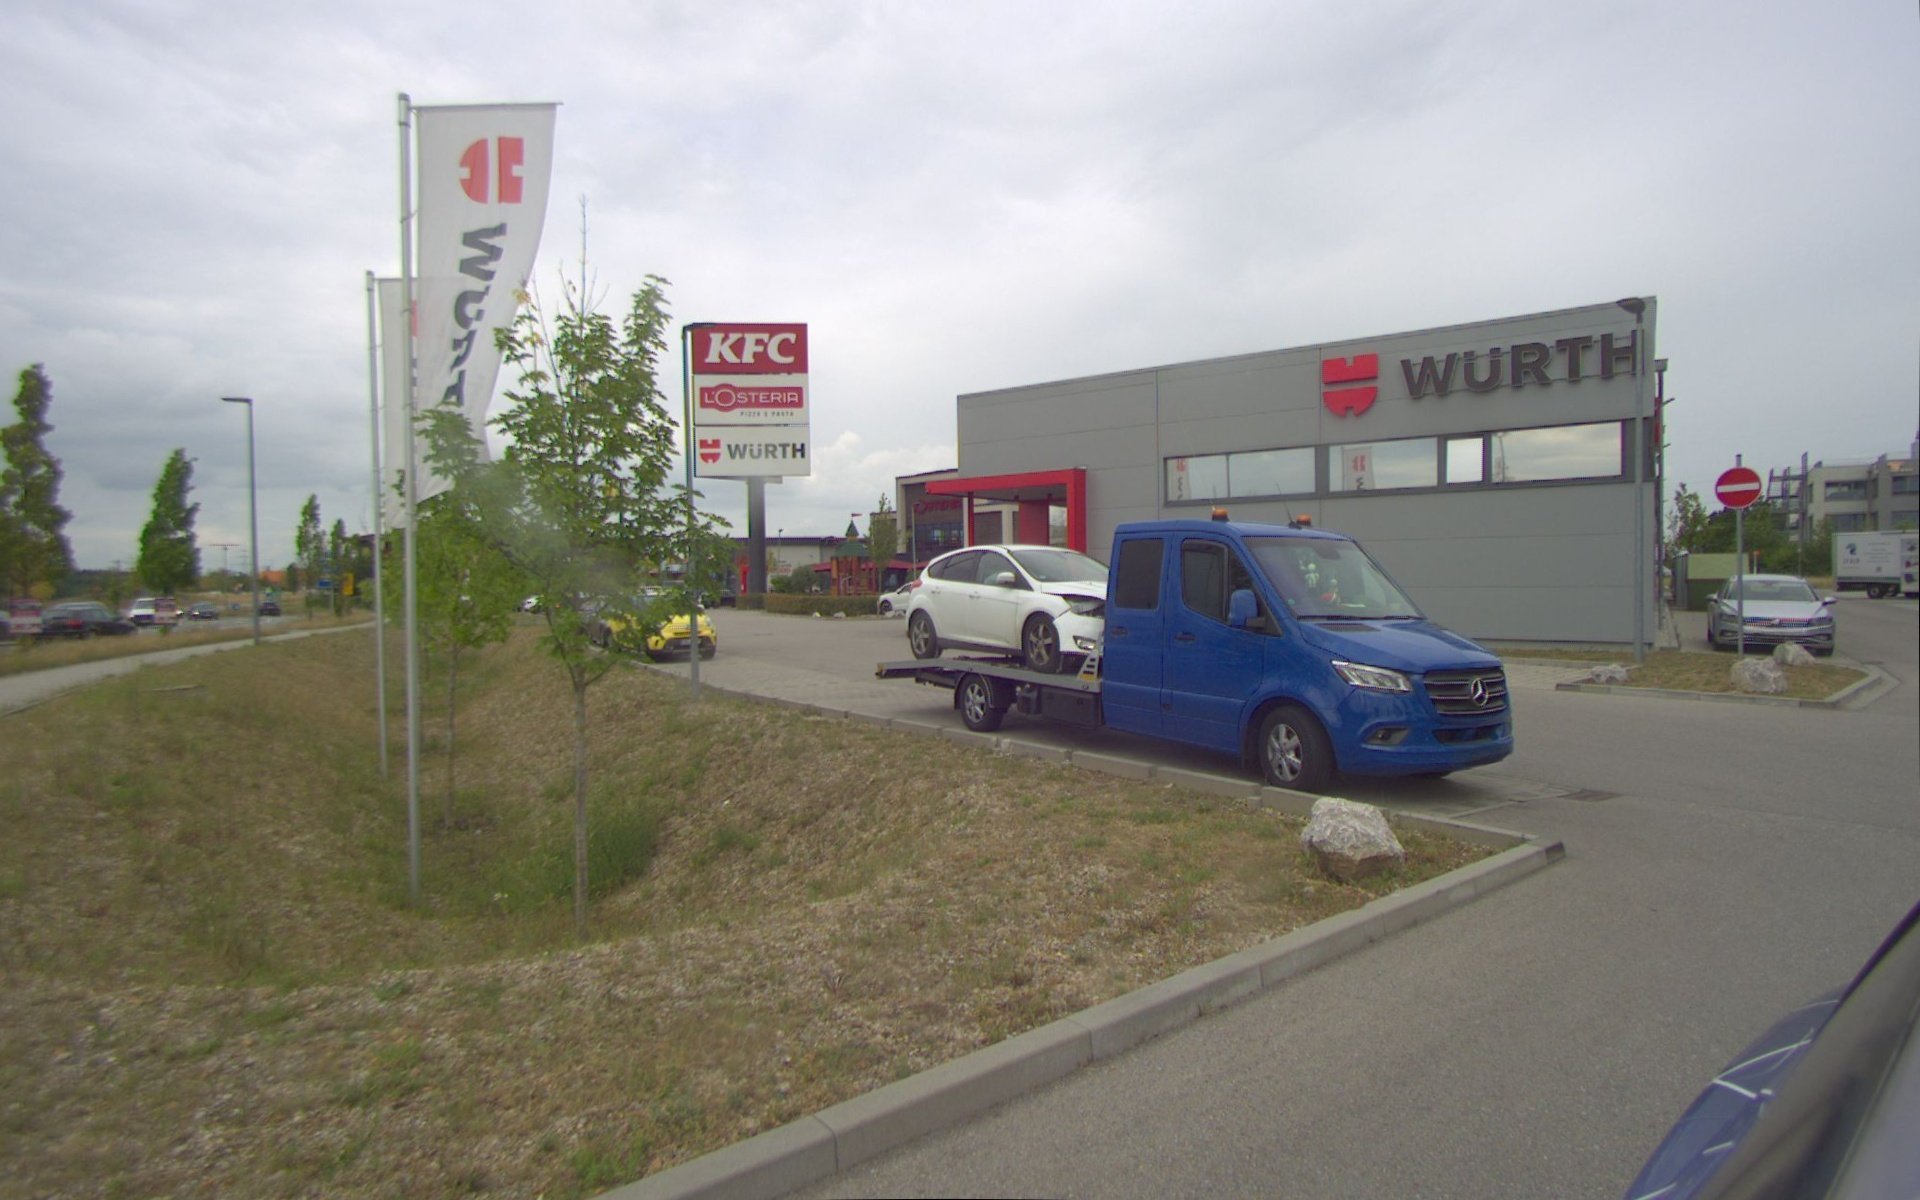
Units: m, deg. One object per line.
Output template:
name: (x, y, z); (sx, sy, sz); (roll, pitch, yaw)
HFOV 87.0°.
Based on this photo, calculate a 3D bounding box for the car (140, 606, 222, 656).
car: (-29.795, 1.141, 38.817); (1.650, 1.697, 3.512); (-2, 2, -24)

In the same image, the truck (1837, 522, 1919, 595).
truck: (41.490, -1.776, 42.742); (2.389, 3.053, 7.076); (-2, 2, -3)

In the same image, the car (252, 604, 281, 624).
car: (-69.616, 1.373, 101.625); (1.780, 1.872, 3.906); (-3, 2, -43)

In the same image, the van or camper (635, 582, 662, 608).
van or camper: (-26.206, -0.422, 85.294); (1.821, 2.087, 5.245); (-2, 1, -14)

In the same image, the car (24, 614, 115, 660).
car: (-31.609, 1.271, 36.007); (1.464, 1.403, 3.347); (-2, 2, -24)

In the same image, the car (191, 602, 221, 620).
car: (-65.847, 0.913, 88.428); (1.740, 1.401, 4.153); (-2, 2, -32)

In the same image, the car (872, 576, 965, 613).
car: (-2.145, -0.266, 51.137); (4.717, 1.770, 1.734); (-1, 1, 39)

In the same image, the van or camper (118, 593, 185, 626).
van or camper: (-51.478, 0.562, 64.570); (1.959, 1.935, 5.214); (-2, 2, -23)

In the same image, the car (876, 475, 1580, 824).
car: (1.890, 0.236, 10.734); (2.158, 2.351, 7.862); (-2, 2, -32)

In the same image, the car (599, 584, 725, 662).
car: (-7.467, 0.498, 25.051); (1.720, 1.704, 4.299); (-3, 2, -34)

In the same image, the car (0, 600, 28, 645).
car: (-35.943, 0.856, 36.853); (1.870, 1.588, 4.341); (-2, 1, -28)

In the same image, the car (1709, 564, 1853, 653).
car: (16.517, 0.057, 20.269); (1.974, 1.510, 4.699); (3, 4, 42)

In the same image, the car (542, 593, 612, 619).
car: (-23.684, 0.363, 62.517); (3.918, 1.438, 1.814); (-2, 1, -24)
